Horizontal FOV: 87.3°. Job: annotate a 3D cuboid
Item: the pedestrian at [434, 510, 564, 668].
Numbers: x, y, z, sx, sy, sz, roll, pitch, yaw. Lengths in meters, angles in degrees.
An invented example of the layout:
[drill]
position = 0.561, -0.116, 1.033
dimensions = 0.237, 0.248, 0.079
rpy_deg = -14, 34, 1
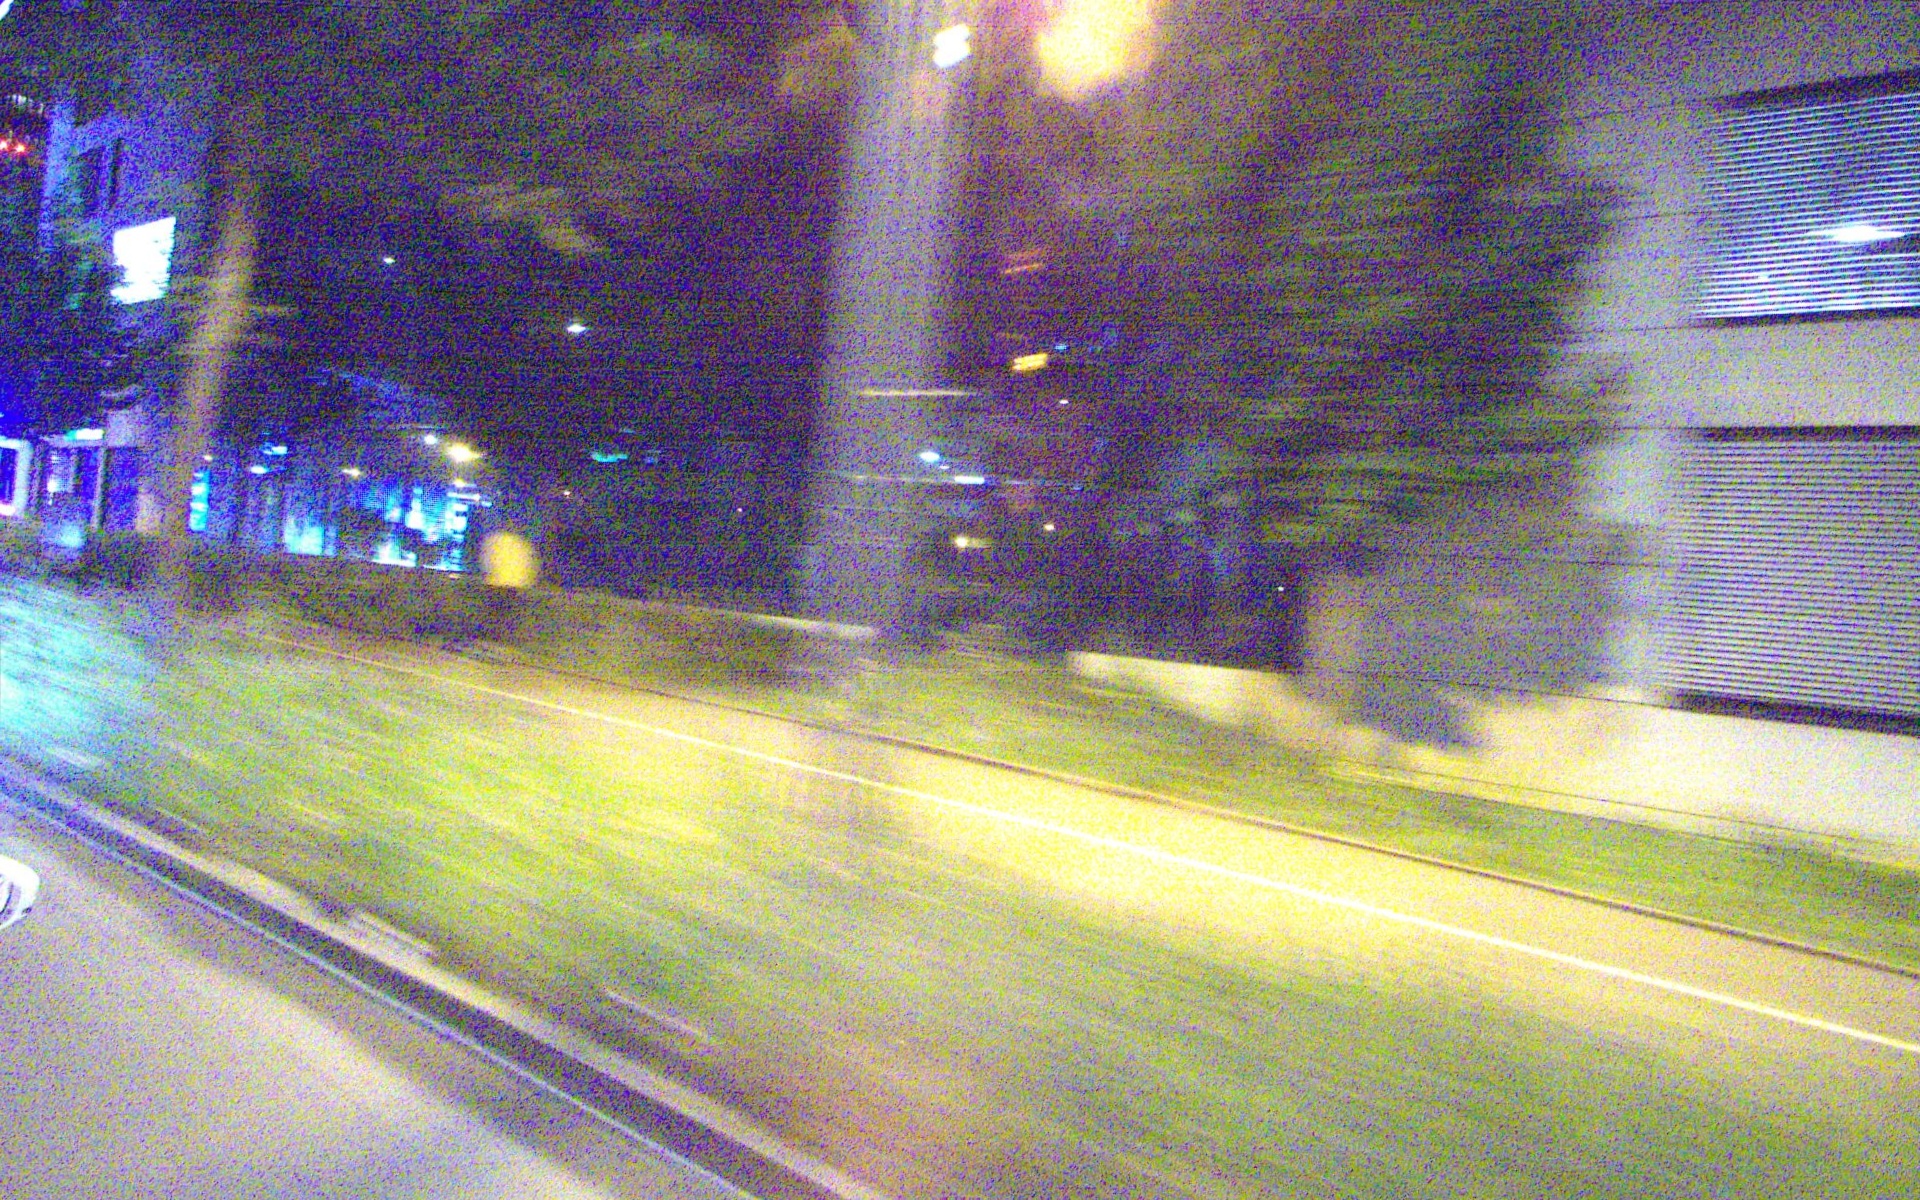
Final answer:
[pedestrian]
position = -5.457, -0.123, 11.926
dimensions = 0.941, 1.728, 0.854
rpy_deg = 6, 0, 30
